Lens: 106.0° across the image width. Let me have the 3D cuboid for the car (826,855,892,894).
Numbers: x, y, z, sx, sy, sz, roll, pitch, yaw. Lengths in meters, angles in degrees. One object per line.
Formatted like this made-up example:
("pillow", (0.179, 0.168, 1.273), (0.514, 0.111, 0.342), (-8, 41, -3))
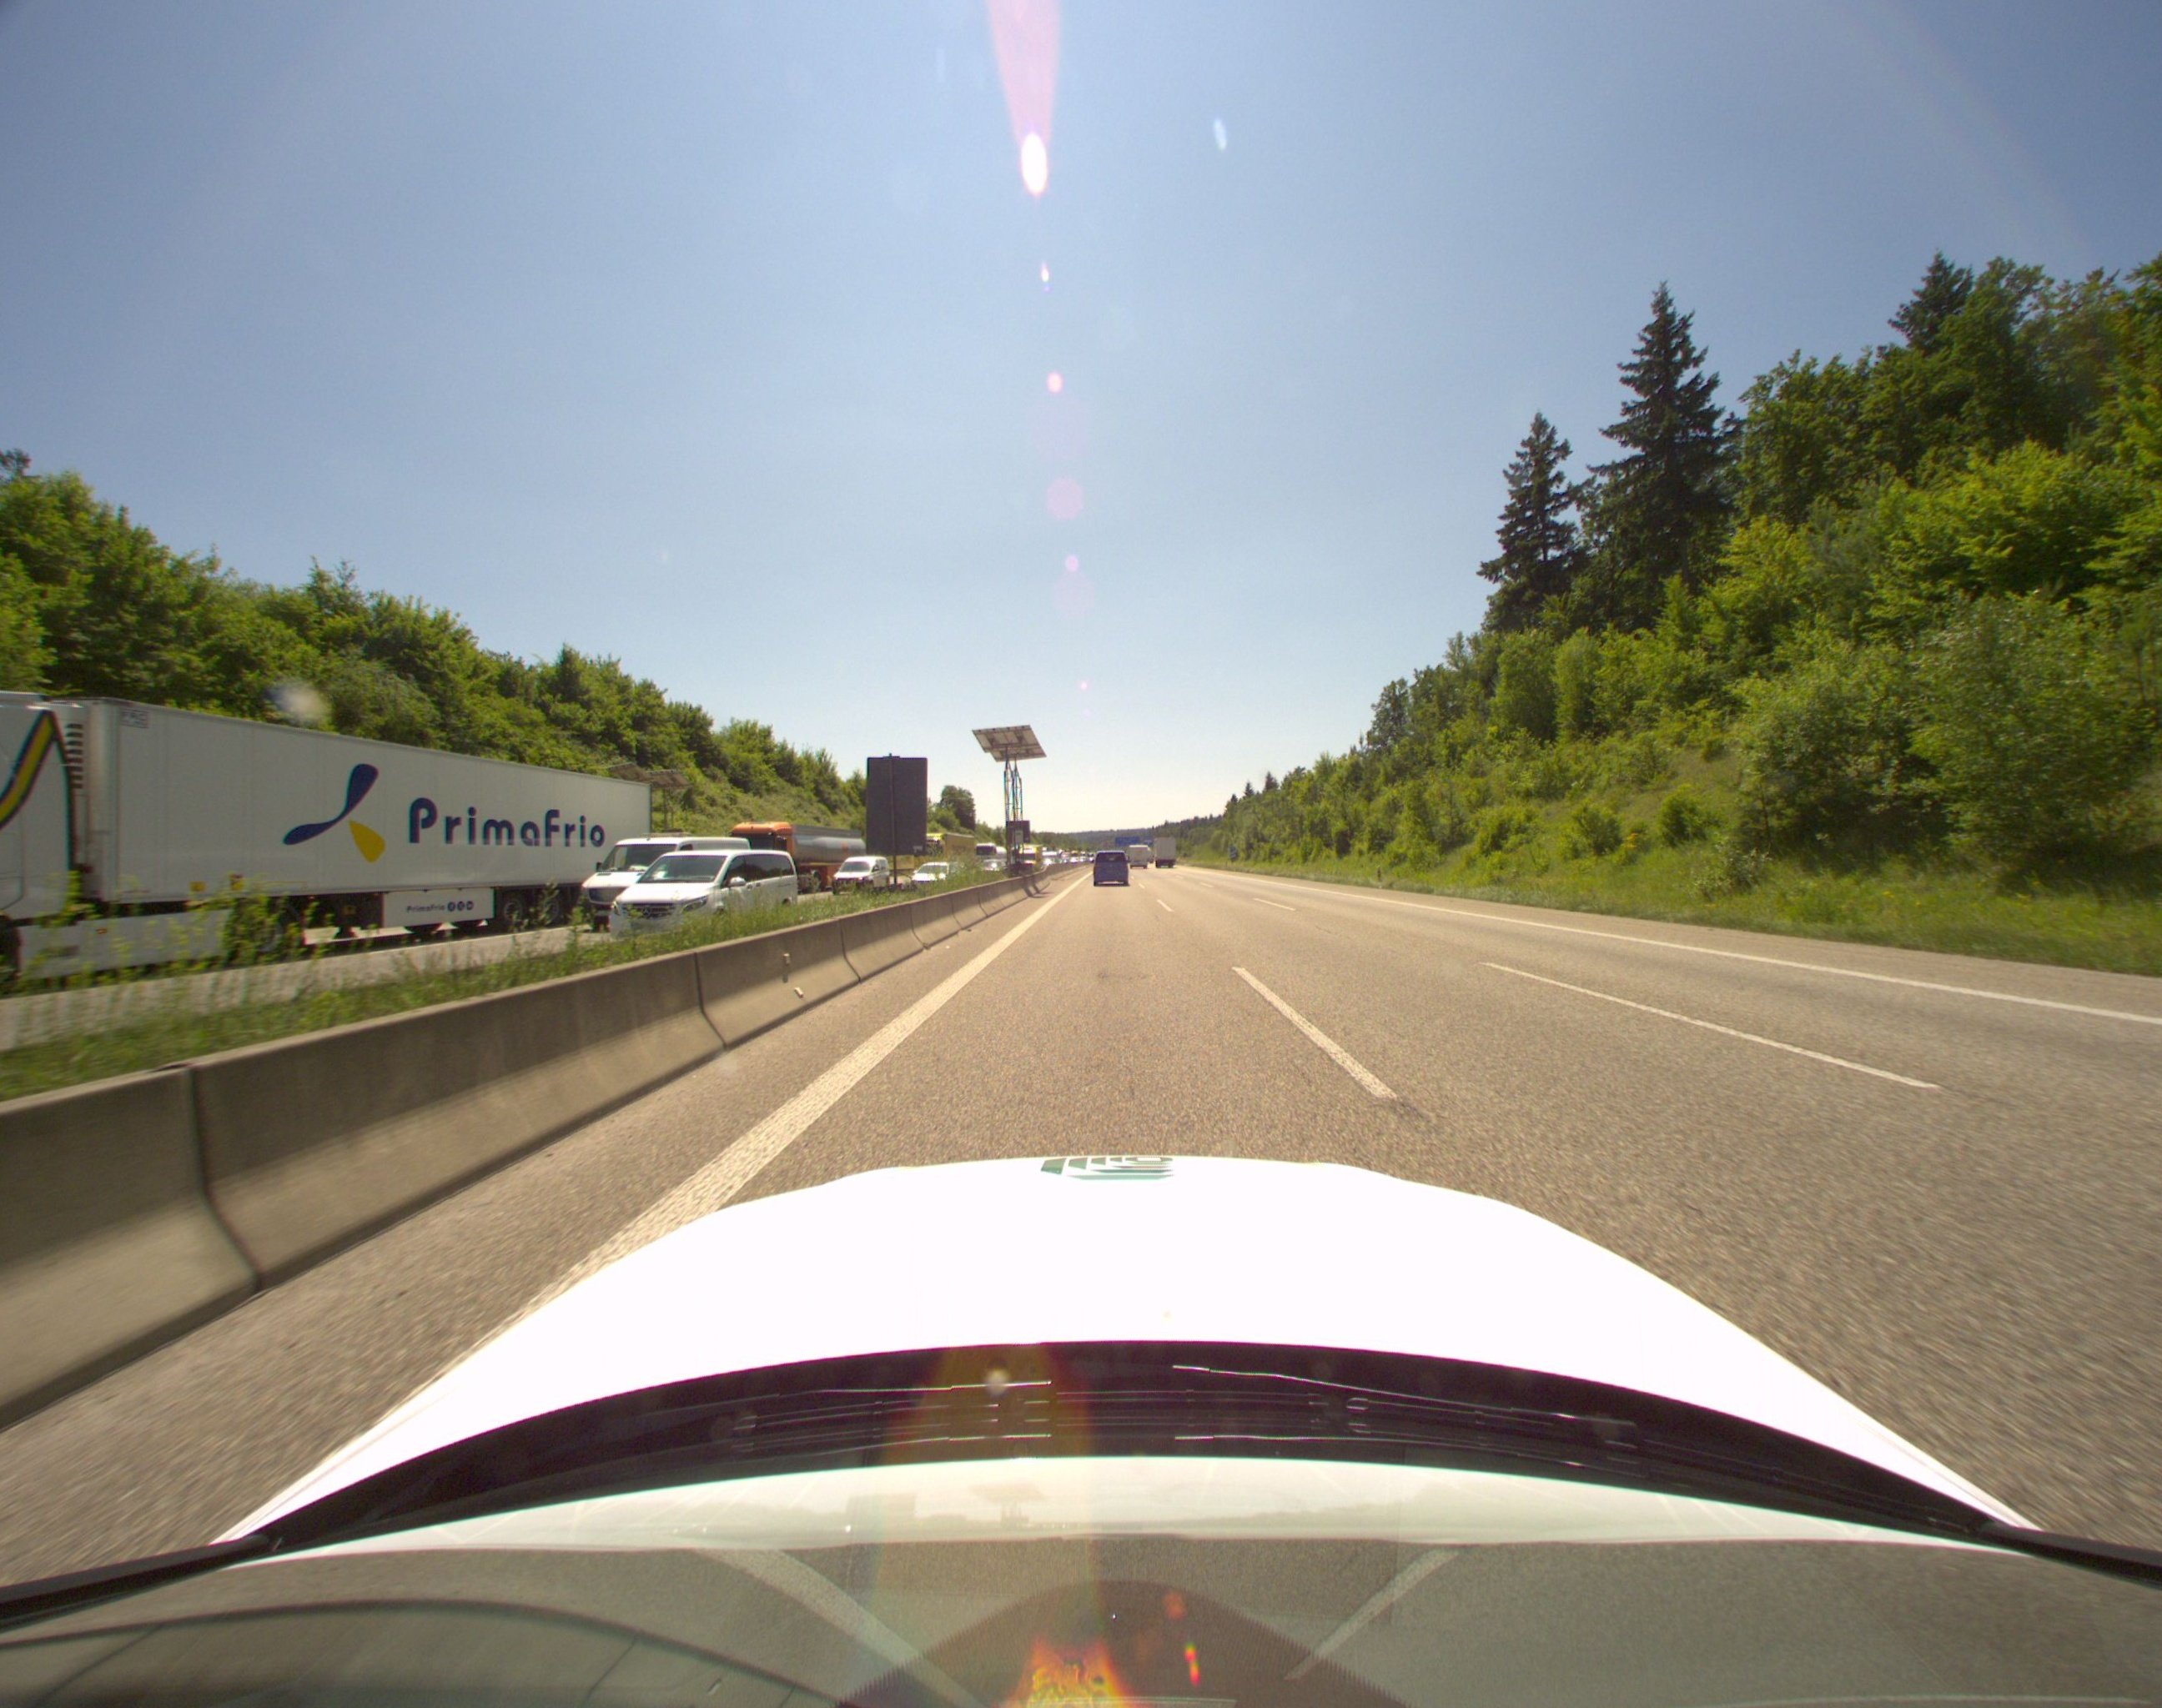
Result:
("car", (-10.684, 0.943, 39.520), (1.822, 1.763, 4.759), (0, -1, 0))

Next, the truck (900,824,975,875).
("truck", (-13.660, -0.298, 79.803), (3.682, 4.456, 17.389), (0, -1, 2))

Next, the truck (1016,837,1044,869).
("truck", (-4.981, -0.045, 80.540), (2.260, 3.016, 6.776), (0, -1, 0))

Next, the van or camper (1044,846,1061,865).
("van or camper", (-4.368, 0.305, 125.985), (2.244, 2.775, 7.217), (0, -1, 0))

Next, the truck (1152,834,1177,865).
("truck", (11.455, -0.567, 112.463), (2.773, 4.128, 9.742), (0, -1, 1))

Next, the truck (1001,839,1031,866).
("truck", (-11.192, -0.170, 141.145), (3.684, 4.456, 16.674), (0, -1, 0))

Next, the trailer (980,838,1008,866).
("trailer", (-11.933, -0.274, 112.335), (2.602, 3.733, 10.680), (0, 0, 0))

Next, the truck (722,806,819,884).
("truck", (-14.339, -0.380, 38.043), (2.485, 3.365, 5.186), (0, 0, 0))

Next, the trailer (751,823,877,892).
("trailer", (-14.114, 0.419, 44.428), (2.568, 3.295, 11.699), (0, -2, 2))

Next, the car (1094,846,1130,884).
("car", (1.694, 0.560, 44.652), (1.902, 2.013, 4.002), (0, 0, 2))

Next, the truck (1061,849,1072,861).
("truck", (-3.537, 0.295, 201.028), (2.559, 2.845, 6.755), (0, -1, 2))

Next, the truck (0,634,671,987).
("truck", (-15.204, -0.467, 17.201), (3.682, 4.456, 17.389), (0, -1, 2))

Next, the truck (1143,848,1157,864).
("truck", (16.001, 0.452, 188.304), (2.915, 3.575, 8.535), (-2, 0, 4))

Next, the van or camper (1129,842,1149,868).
("van or camper", (7.647, 0.074, 107.736), (2.592, 3.078, 7.189), (0, 2, 3))

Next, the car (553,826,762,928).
("car", (-11.165, 0.569, 22.297), (2.176, 2.384, 6.542), (0, -1, 1))

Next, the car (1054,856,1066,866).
("car", (-3.576, 1.216, 137.714), (1.821, 1.764, 4.992), (0, -1, 2))

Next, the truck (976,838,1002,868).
("truck", (-11.954, -0.116, 105.844), (2.669, 3.743, 5.872), (0, -1, 0))

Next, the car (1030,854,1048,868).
("car", (-4.688, 0.796, 91.356), (1.822, 1.497, 4.759), (0, -1, 0))

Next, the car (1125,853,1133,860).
("car", (11.255, 0.637, 189.873), (1.773, 1.486, 4.002), (-1, 0, 2))

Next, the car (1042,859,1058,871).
("car", (-3.986, 1.410, 104.837), (1.822, 1.497, 4.759), (0, -1, 0))

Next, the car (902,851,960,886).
("car", (-6.987, 0.668, 38.340), (1.822, 1.497, 4.759), (0, -1, 0))

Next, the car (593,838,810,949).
("car", (-7.743, 0.746, 17.417), (1.819, 1.977, 5.667), (0, -1, 2))
